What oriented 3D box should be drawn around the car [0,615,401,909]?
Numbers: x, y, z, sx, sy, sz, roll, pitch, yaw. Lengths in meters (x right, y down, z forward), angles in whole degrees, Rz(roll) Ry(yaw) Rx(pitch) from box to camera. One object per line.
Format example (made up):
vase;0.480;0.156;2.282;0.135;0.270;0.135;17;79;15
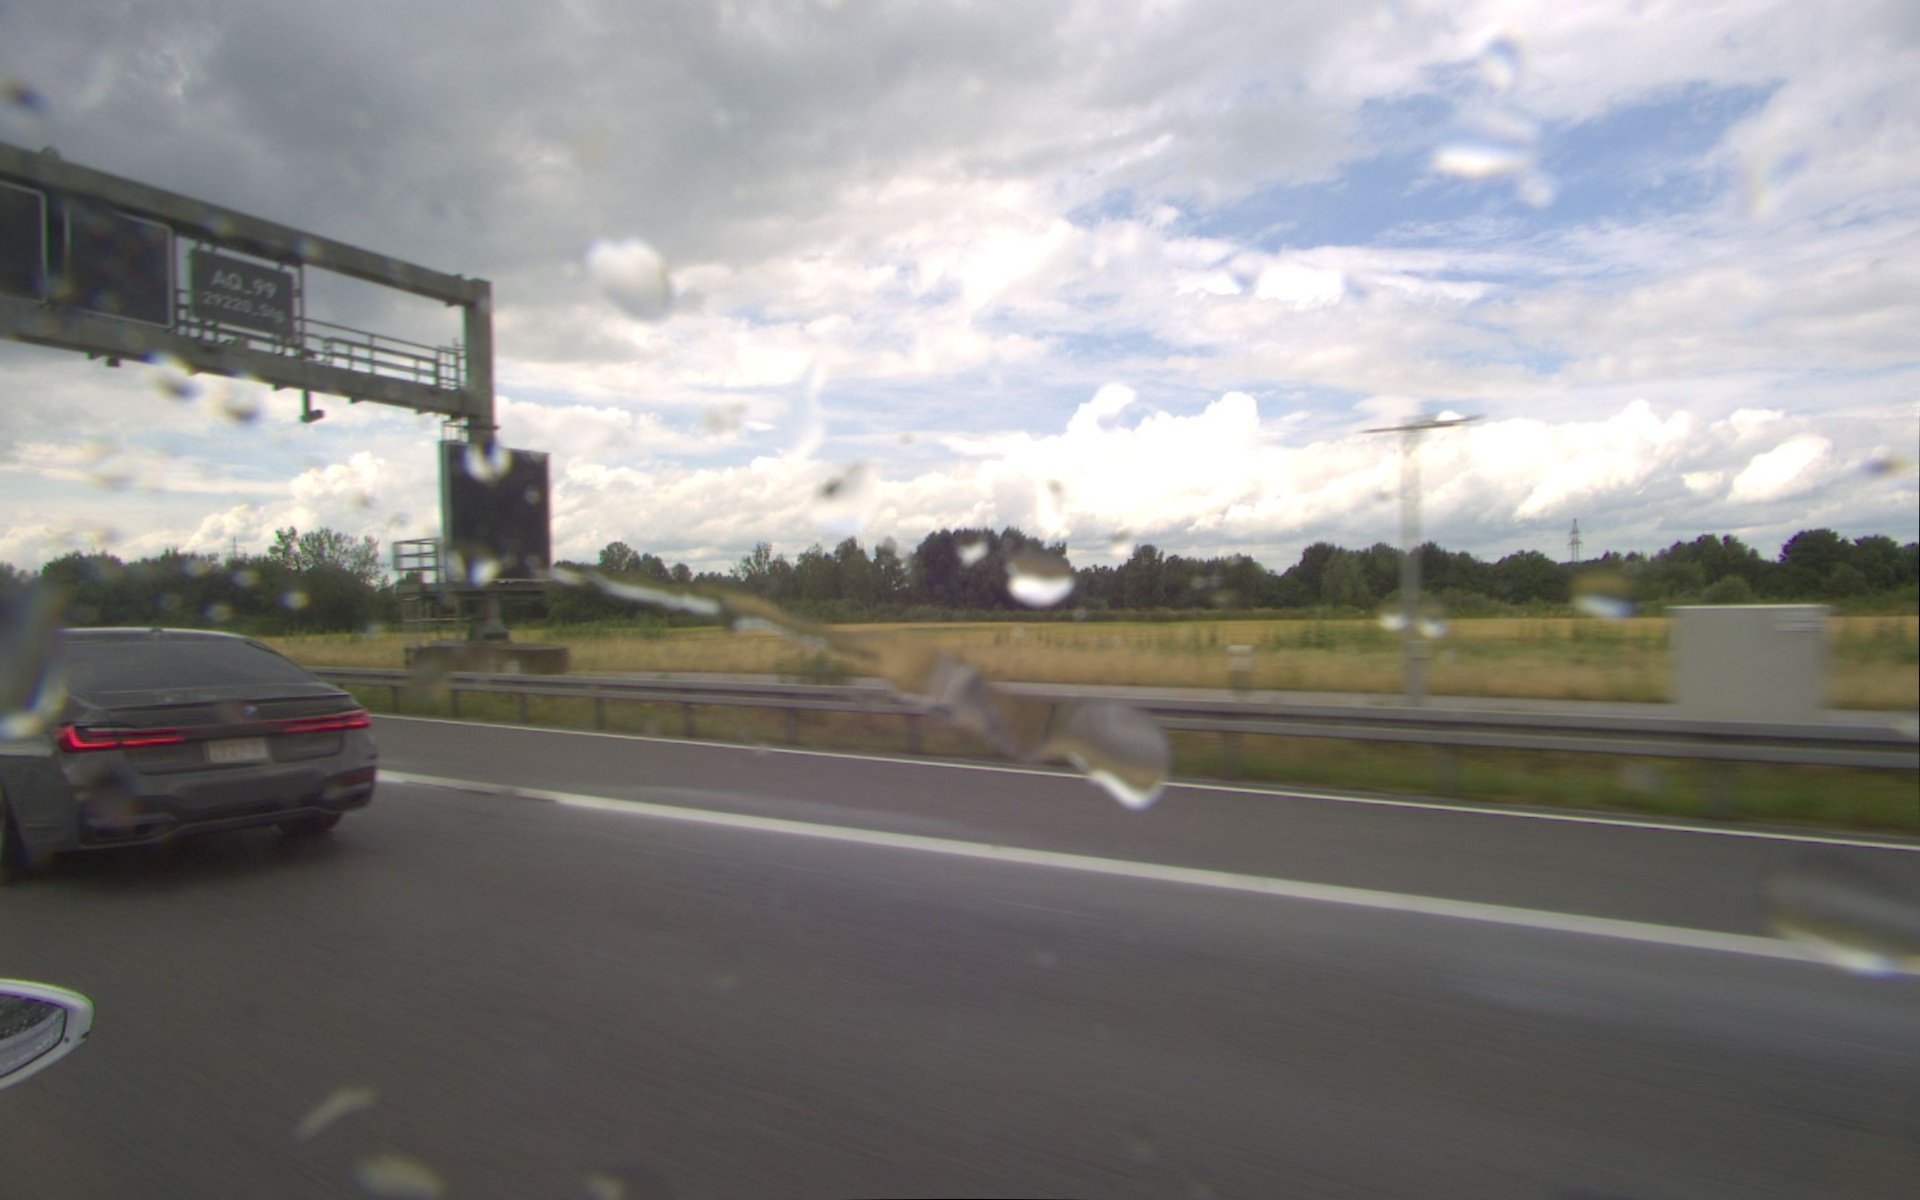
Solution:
car;-6.289;0.870;7.233;4.707;1.510;1.936;-1;-1;32
